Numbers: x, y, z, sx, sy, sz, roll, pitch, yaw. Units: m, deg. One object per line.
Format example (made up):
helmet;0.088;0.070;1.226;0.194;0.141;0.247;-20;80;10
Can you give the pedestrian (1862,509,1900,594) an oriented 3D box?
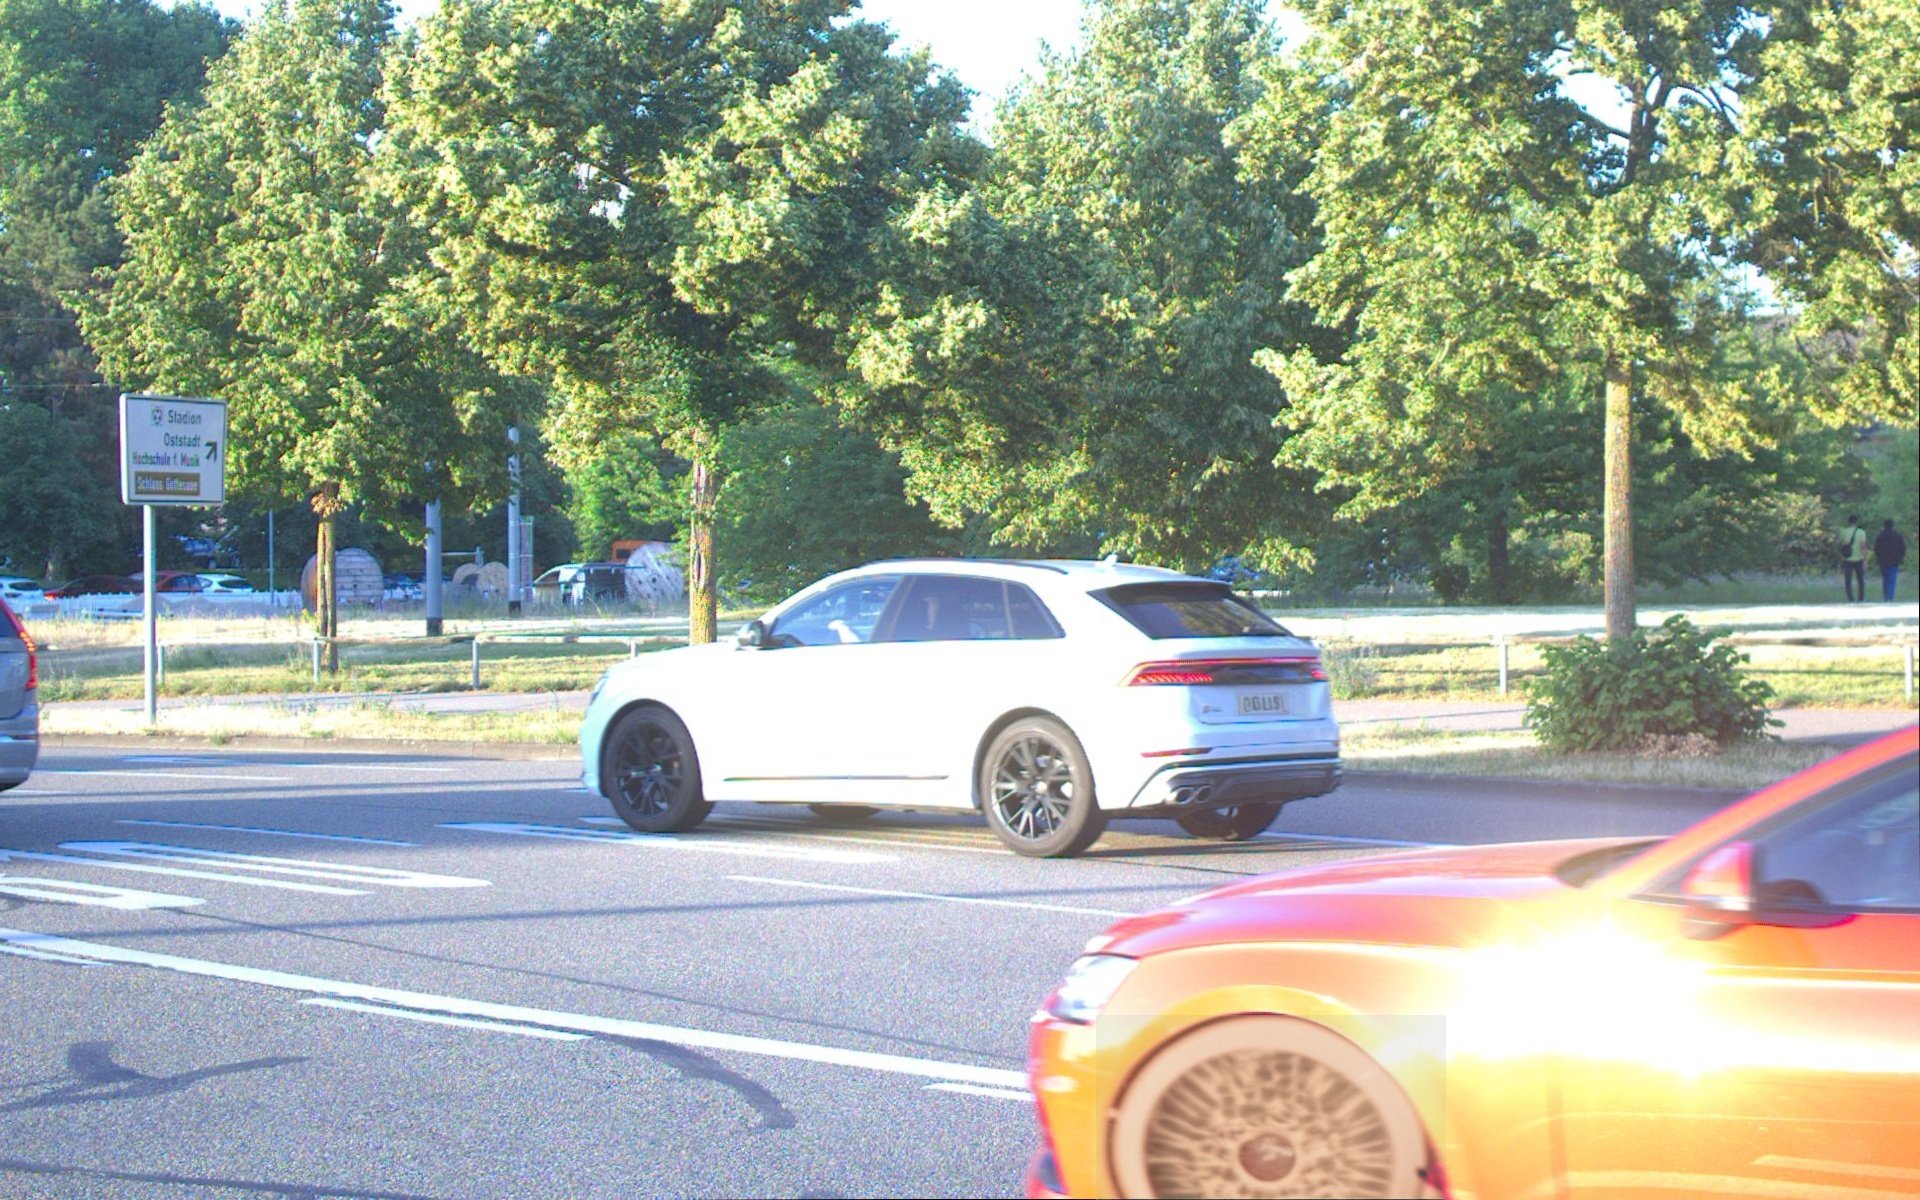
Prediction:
pedestrian;17.769;-0.937;66.316;0.530;1.621;0.619;0;1;35

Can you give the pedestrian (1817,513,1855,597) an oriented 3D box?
pedestrian;16.899;-0.867;66.322;0.532;1.621;0.579;0;1;38

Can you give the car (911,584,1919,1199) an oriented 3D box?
car;2.334;0.726;6.134;4.574;1.455;1.842;1;1;32
